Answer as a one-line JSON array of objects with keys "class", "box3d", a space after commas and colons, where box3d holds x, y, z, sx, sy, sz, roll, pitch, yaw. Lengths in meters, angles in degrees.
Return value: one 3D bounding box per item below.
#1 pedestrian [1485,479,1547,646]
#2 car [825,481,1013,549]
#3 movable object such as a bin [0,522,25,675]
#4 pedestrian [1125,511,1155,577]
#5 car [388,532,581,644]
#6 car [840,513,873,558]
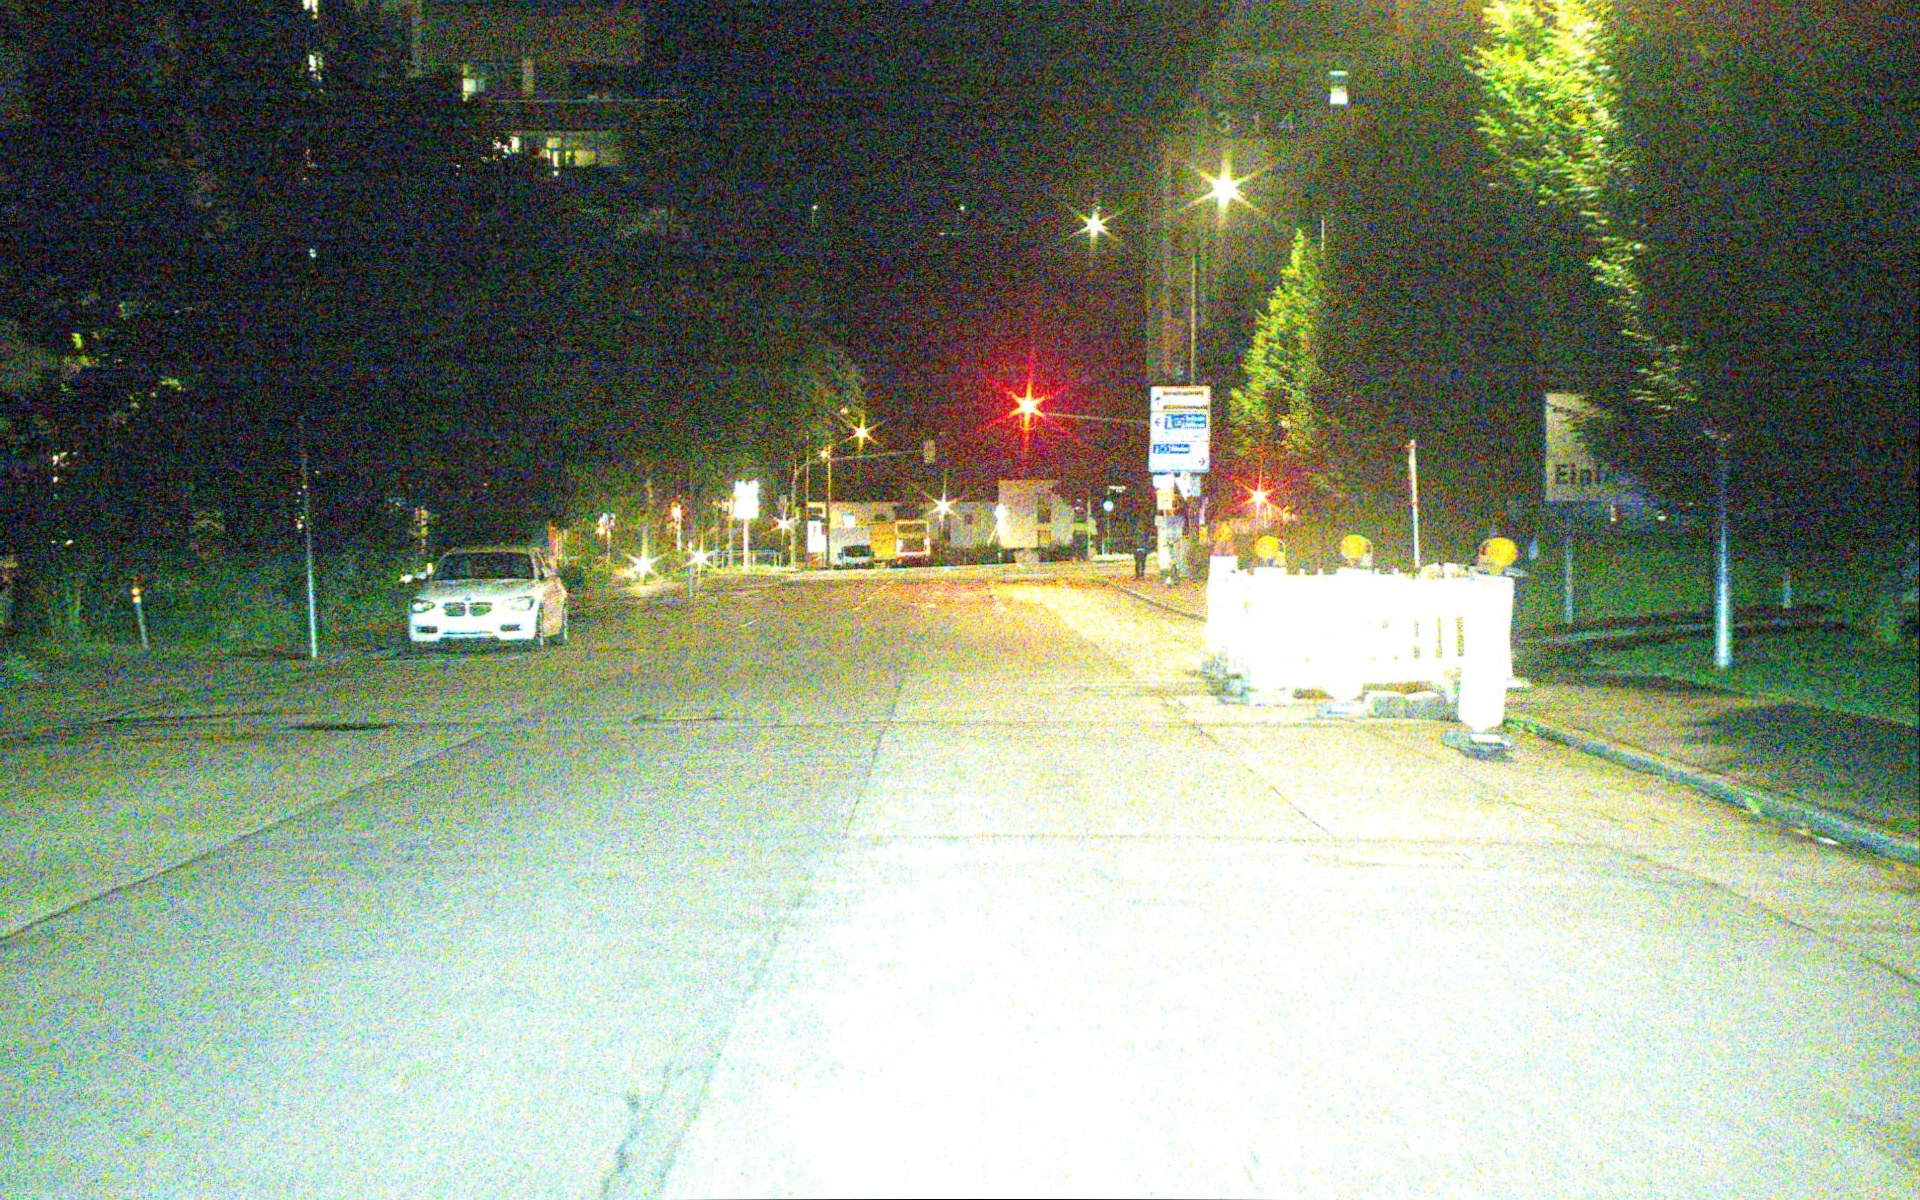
[{"class": "pedestrian", "box3d": [6.239, -0.421, 38.570, 0.570, 1.846, 0.820, 0, 1, 1]}, {"class": "car", "box3d": [-2.924, -5.947, 240.757, 12.380, 4.693, 4.811, -1, 1, -13]}, {"class": "movable object such as a bin", "box3d": [-9.965, -0.021, 33.987, 1.164, 1.490, 1.066, -1, 1, -2]}, {"class": "pedestrian", "box3d": [5.421, -1.679, 103.753, 0.737, 1.975, 0.626, -1, 1, -16]}, {"class": "car", "box3d": [-6.380, -0.196, 46.595, 1.911, 1.399, 4.338, -1, 1, 1]}, {"class": "car", "box3d": [-6.910, -4.315, 228.726, 1.993, 2.963, 4.001, -1, 1, -5]}]
